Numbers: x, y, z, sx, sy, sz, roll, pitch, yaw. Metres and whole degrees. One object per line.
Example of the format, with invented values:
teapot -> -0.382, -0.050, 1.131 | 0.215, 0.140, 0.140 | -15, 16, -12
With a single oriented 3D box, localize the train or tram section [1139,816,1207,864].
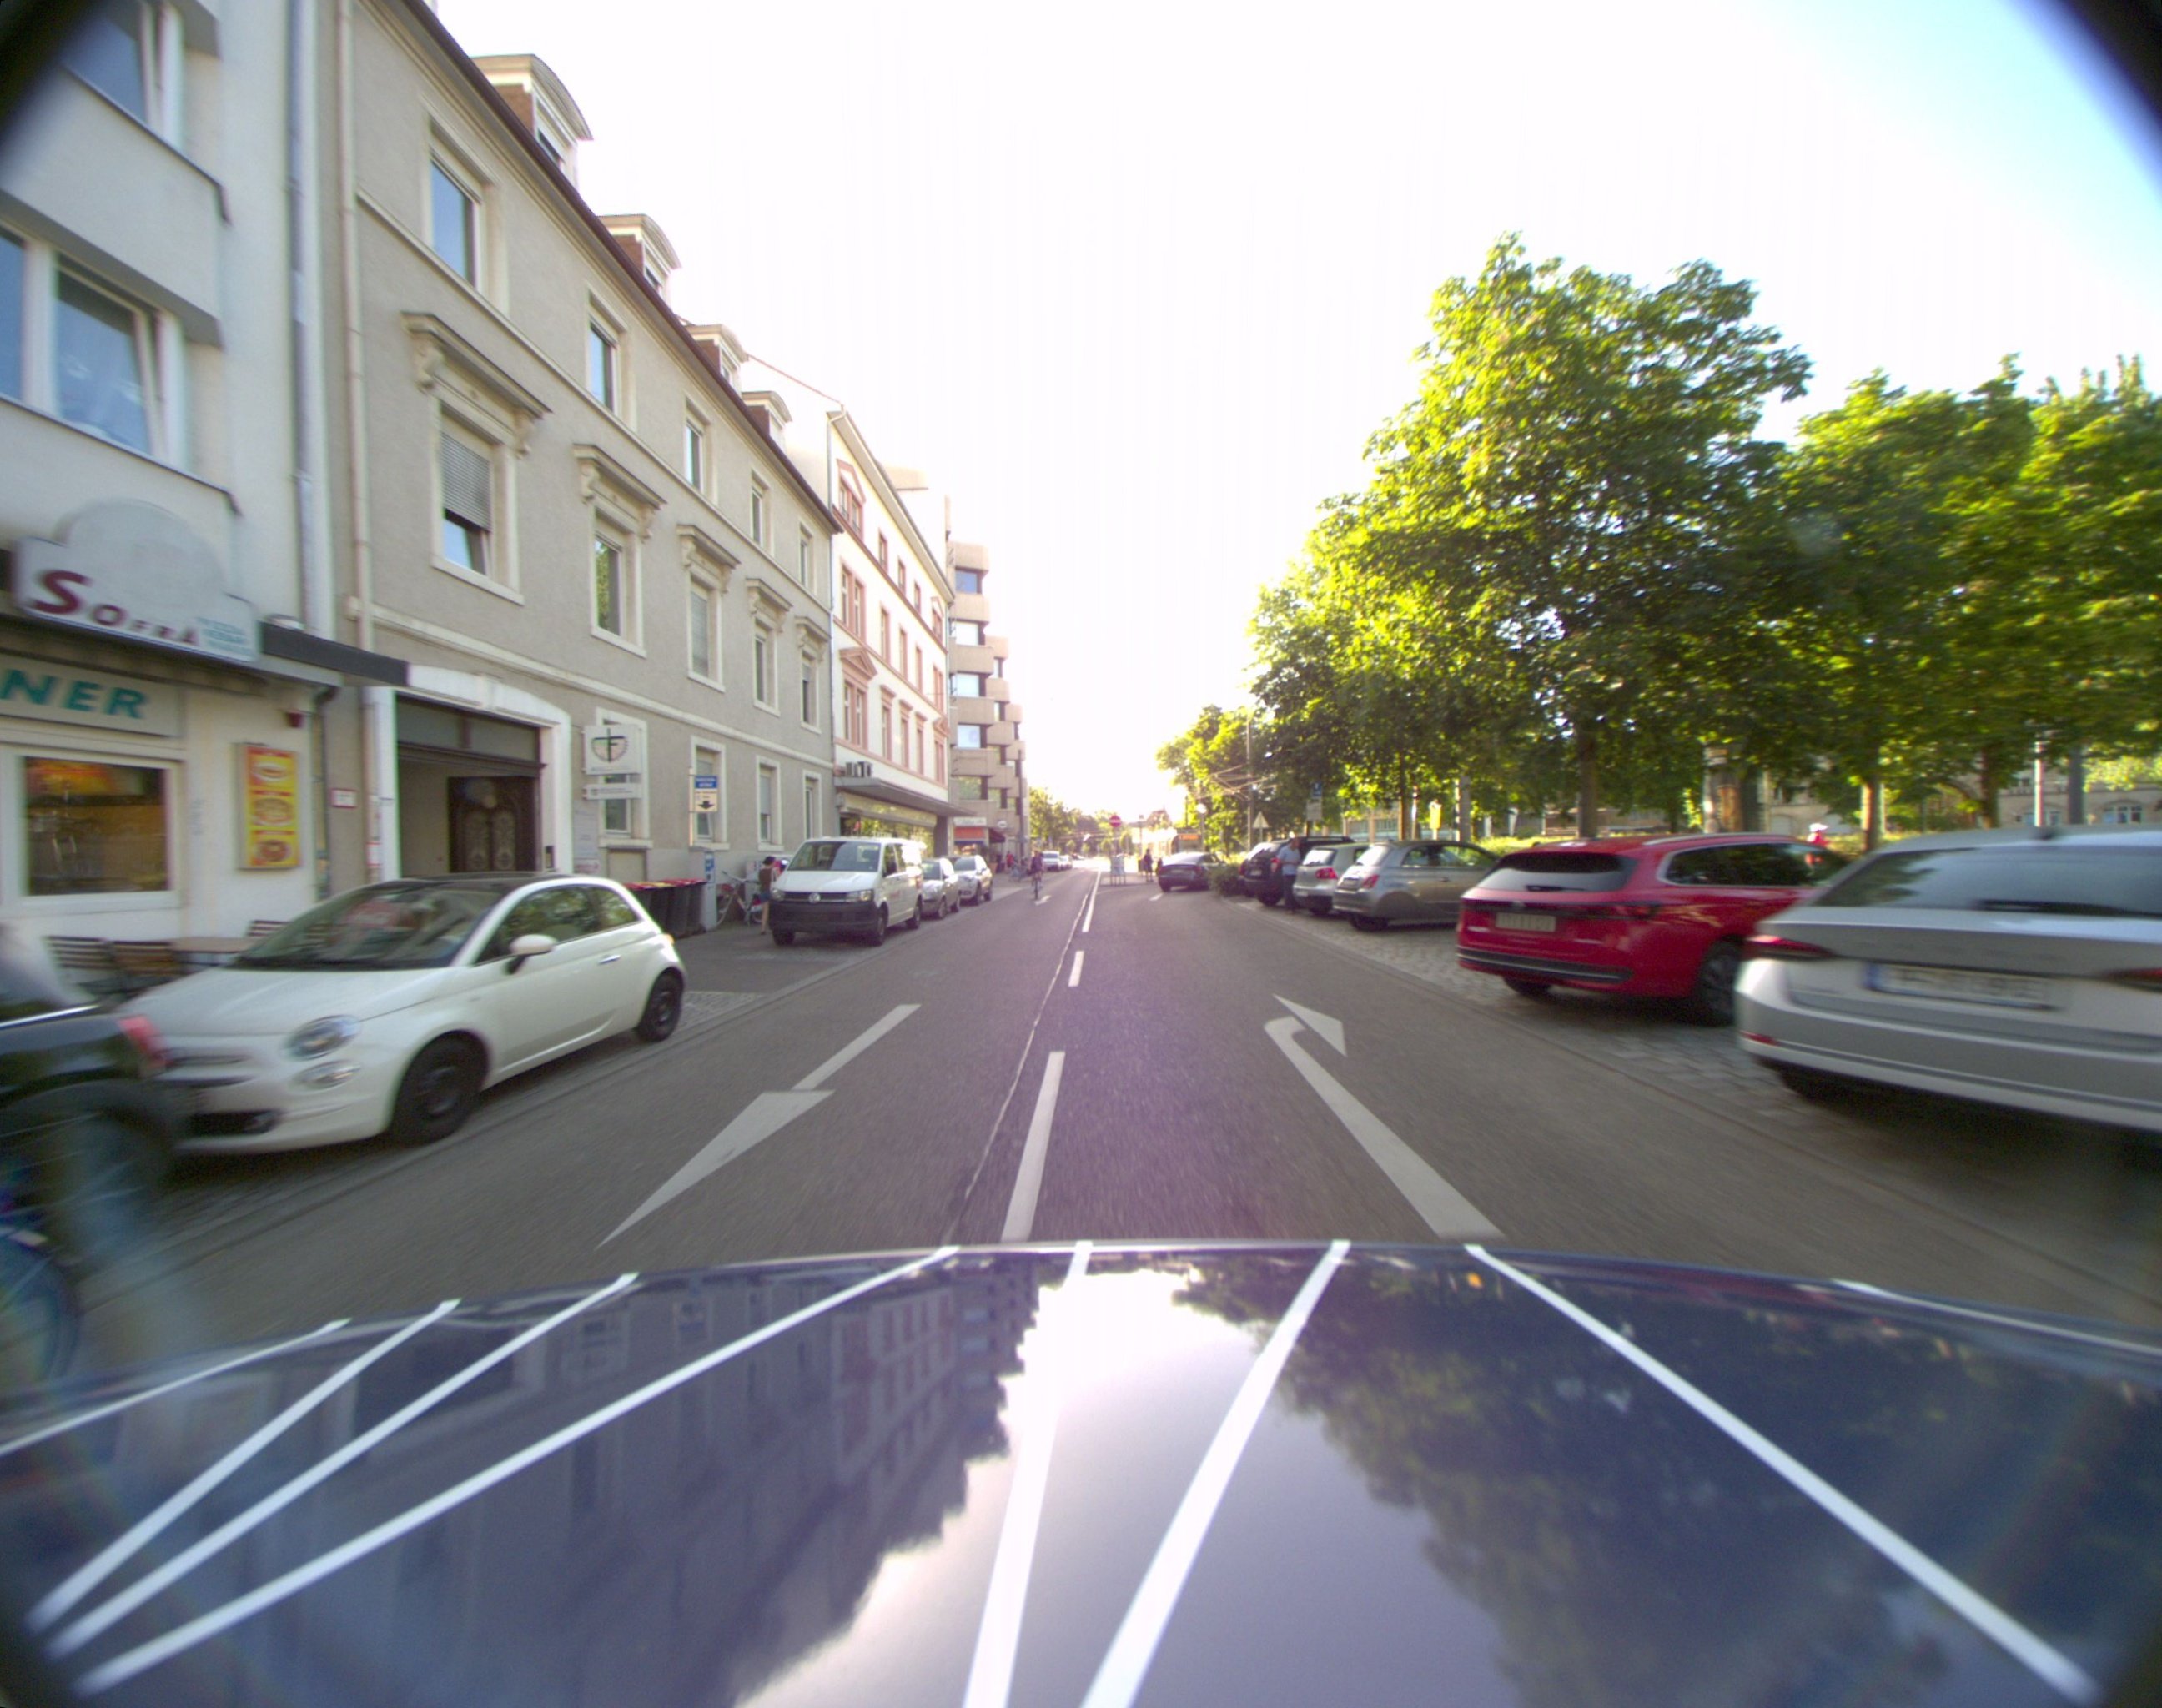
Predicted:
train or tram section -> 7.740, -1.066, 66.077 | 2.958, 3.664, 13.177 | -2, 0, -6

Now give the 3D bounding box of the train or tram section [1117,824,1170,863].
train or tram section -> 6.308, -0.984, 79.080 | 2.958, 3.591, 13.627 | -2, 0, -6

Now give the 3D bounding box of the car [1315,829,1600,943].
car -> 6.280, 0.473, 12.903 | 3.999, 1.589, 1.748 | -3, 2, -7

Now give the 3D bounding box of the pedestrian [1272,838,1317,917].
pedestrian -> 4.559, 0.488, 16.251 | 0.701, 1.640, 0.646 | -3, 2, -5

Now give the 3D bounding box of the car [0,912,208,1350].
car -> -4.618, 1.049, 1.307 | 1.682, 1.439, 3.785 | -3, 1, 2

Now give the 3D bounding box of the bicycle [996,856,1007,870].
bicycle -> -6.548, 0.744, 62.474 | 0.564, 1.028, 1.644 | -3, 2, 2

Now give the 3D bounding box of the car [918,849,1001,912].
car -> -3.930, 0.790, 25.355 | 1.749, 1.729, 4.959 | -3, 1, 2

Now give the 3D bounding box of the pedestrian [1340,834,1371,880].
pedestrian -> 10.249, 0.111, 28.362 | 0.671, 1.690, 0.803 | -4, 2, -40

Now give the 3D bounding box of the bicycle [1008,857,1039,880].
bicycle -> -3.387, 0.865, 44.769 | 1.623, 1.236, 0.660 | -2, 2, 22

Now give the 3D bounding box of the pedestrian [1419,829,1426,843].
pedestrian -> 39.255, -2.073, 87.334 | 0.553, 1.606, 0.676 | -1, 2, 40

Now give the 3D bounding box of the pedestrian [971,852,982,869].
pedestrian -> -7.945, 0.481, 57.810 | 0.844, 1.285, 0.830 | 0, 2, -10

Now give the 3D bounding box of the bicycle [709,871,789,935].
bicycle -> -7.035, 1.007, 16.188 | 0.483, 1.179, 1.721 | 1, 3, 20

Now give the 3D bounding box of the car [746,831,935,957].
car -> -4.402, 0.640, 14.920 | 1.998, 1.993, 5.117 | -2, 0, 0

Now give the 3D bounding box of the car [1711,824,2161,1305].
car -> 5.343, 0.664, 3.811 | 4.240, 1.468, 1.732 | -4, 2, -26

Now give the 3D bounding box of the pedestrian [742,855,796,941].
pedestrian -> -6.177, 0.861, 15.057 | 0.751, 1.598, 0.458 | 5, 2, 2

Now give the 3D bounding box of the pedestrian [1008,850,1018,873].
pedestrian -> -5.322, 0.572, 59.655 | 0.585, 1.705, 0.698 | -3, 2, 5

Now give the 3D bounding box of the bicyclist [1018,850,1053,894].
bicyclist -> -1.602, 0.626, 27.148 | 1.040, 1.475, 0.988 | -3, 2, 5

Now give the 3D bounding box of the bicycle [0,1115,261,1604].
bicycle -> -2.892, 1.315, 0.974 | 0.654, 0.953, 2.697 | -3, 1, 1

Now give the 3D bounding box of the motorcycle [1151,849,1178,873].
motorcycle -> 4.905, 0.389, 44.682 | 0.749, 1.366, 1.757 | -4, 2, -22

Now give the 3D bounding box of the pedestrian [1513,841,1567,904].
pedestrian -> 9.744, 0.375, 16.134 | 0.646, 1.267, 0.700 | -3, 2, -13

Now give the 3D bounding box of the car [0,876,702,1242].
car -> -4.462, 1.013, 5.341 | 1.722, 1.506, 3.582 | 1, 2, 1

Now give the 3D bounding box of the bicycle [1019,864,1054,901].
bicycle -> -1.572, 0.993, 27.192 | 0.887, 1.129, 2.229 | -3, 1, 5

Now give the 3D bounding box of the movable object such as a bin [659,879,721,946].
movable object such as a bin -> -7.264, 1.073, 14.143 | 0.770, 1.154, 0.578 | -3, 2, 5

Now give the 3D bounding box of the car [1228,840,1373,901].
car -> 6.467, 0.424, 22.262 | 4.006, 1.461, 1.870 | -4, 2, -33

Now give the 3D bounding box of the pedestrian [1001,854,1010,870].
pedestrian -> -5.974, 0.610, 60.286 | 0.631, 1.229, 0.624 | 0, 2, 5

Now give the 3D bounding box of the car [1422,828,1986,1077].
car -> 5.622, 0.629, 6.811 | 4.855, 1.480, 1.761 | -3, 2, -22

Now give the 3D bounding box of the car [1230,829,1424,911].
car -> 5.959, 0.359, 18.563 | 4.001, 1.658, 1.998 | -3, 1, -14

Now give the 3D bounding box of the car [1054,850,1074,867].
car -> -1.789, 0.474, 81.646 | 1.856, 1.679, 3.866 | -3, 1, 1

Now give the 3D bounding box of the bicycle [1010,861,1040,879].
bicycle -> -3.405, 0.966, 46.235 | 1.705, 0.998, 0.428 | -2, 2, 18

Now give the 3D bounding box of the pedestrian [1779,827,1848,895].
pedestrian -> 17.060, 0.160, 17.698 | 0.771, 1.513, 0.956 | -4, 2, -29

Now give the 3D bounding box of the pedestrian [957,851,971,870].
pedestrian -> -8.869, 0.477, 57.608 | 0.845, 1.394, 0.829 | -2, 0, -23

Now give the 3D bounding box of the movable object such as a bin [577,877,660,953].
movable object such as a bin -> -7.384, 0.967, 12.162 | 0.840, 1.131, 0.699 | -1, 2, 5

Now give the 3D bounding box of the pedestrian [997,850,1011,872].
pedestrian -> -5.973, 0.529, 58.718 | 0.845, 1.700, 0.718 | 0, 1, -26

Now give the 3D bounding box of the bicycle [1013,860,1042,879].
bicycle -> -3.278, 0.953, 46.598 | 1.681, 1.056, 0.344 | -2, 2, 18

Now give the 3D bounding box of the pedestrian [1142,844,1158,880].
pedestrian -> 3.283, 0.360, 36.297 | 0.637, 1.663, 0.692 | -3, 2, 2

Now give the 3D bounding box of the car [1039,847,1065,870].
car -> -2.544, 0.368, 68.254 | 1.998, 1.802, 4.309 | -3, 1, 1

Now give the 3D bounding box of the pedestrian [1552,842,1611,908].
pedestrian -> 9.944, 0.396, 15.103 | 0.646, 1.253, 0.700 | -3, 2, -13

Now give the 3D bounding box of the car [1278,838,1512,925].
car -> 6.300, 0.496, 15.445 | 3.999, 1.440, 1.801 | -3, 2, -8

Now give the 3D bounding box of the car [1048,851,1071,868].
car -> -2.125, 0.524, 75.191 | 1.778, 1.445, 4.731 | -3, 1, 4

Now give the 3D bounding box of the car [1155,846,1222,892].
car -> 4.174, 0.499, 28.876 | 1.914, 1.409, 4.814 | -2, 1, 15

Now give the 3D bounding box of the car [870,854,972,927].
car -> -4.095, 0.873, 20.057 | 1.703, 1.595, 3.756 | -2, 1, 2

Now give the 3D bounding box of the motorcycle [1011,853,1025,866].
motorcycle -> -6.103, 0.524, 73.712 | 0.765, 1.148, 2.048 | 1, 2, 11

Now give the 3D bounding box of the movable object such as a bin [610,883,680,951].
movable object such as a bin -> -7.373, 1.055, 12.882 | 0.796, 1.070, 0.660 | 2, 2, 4
